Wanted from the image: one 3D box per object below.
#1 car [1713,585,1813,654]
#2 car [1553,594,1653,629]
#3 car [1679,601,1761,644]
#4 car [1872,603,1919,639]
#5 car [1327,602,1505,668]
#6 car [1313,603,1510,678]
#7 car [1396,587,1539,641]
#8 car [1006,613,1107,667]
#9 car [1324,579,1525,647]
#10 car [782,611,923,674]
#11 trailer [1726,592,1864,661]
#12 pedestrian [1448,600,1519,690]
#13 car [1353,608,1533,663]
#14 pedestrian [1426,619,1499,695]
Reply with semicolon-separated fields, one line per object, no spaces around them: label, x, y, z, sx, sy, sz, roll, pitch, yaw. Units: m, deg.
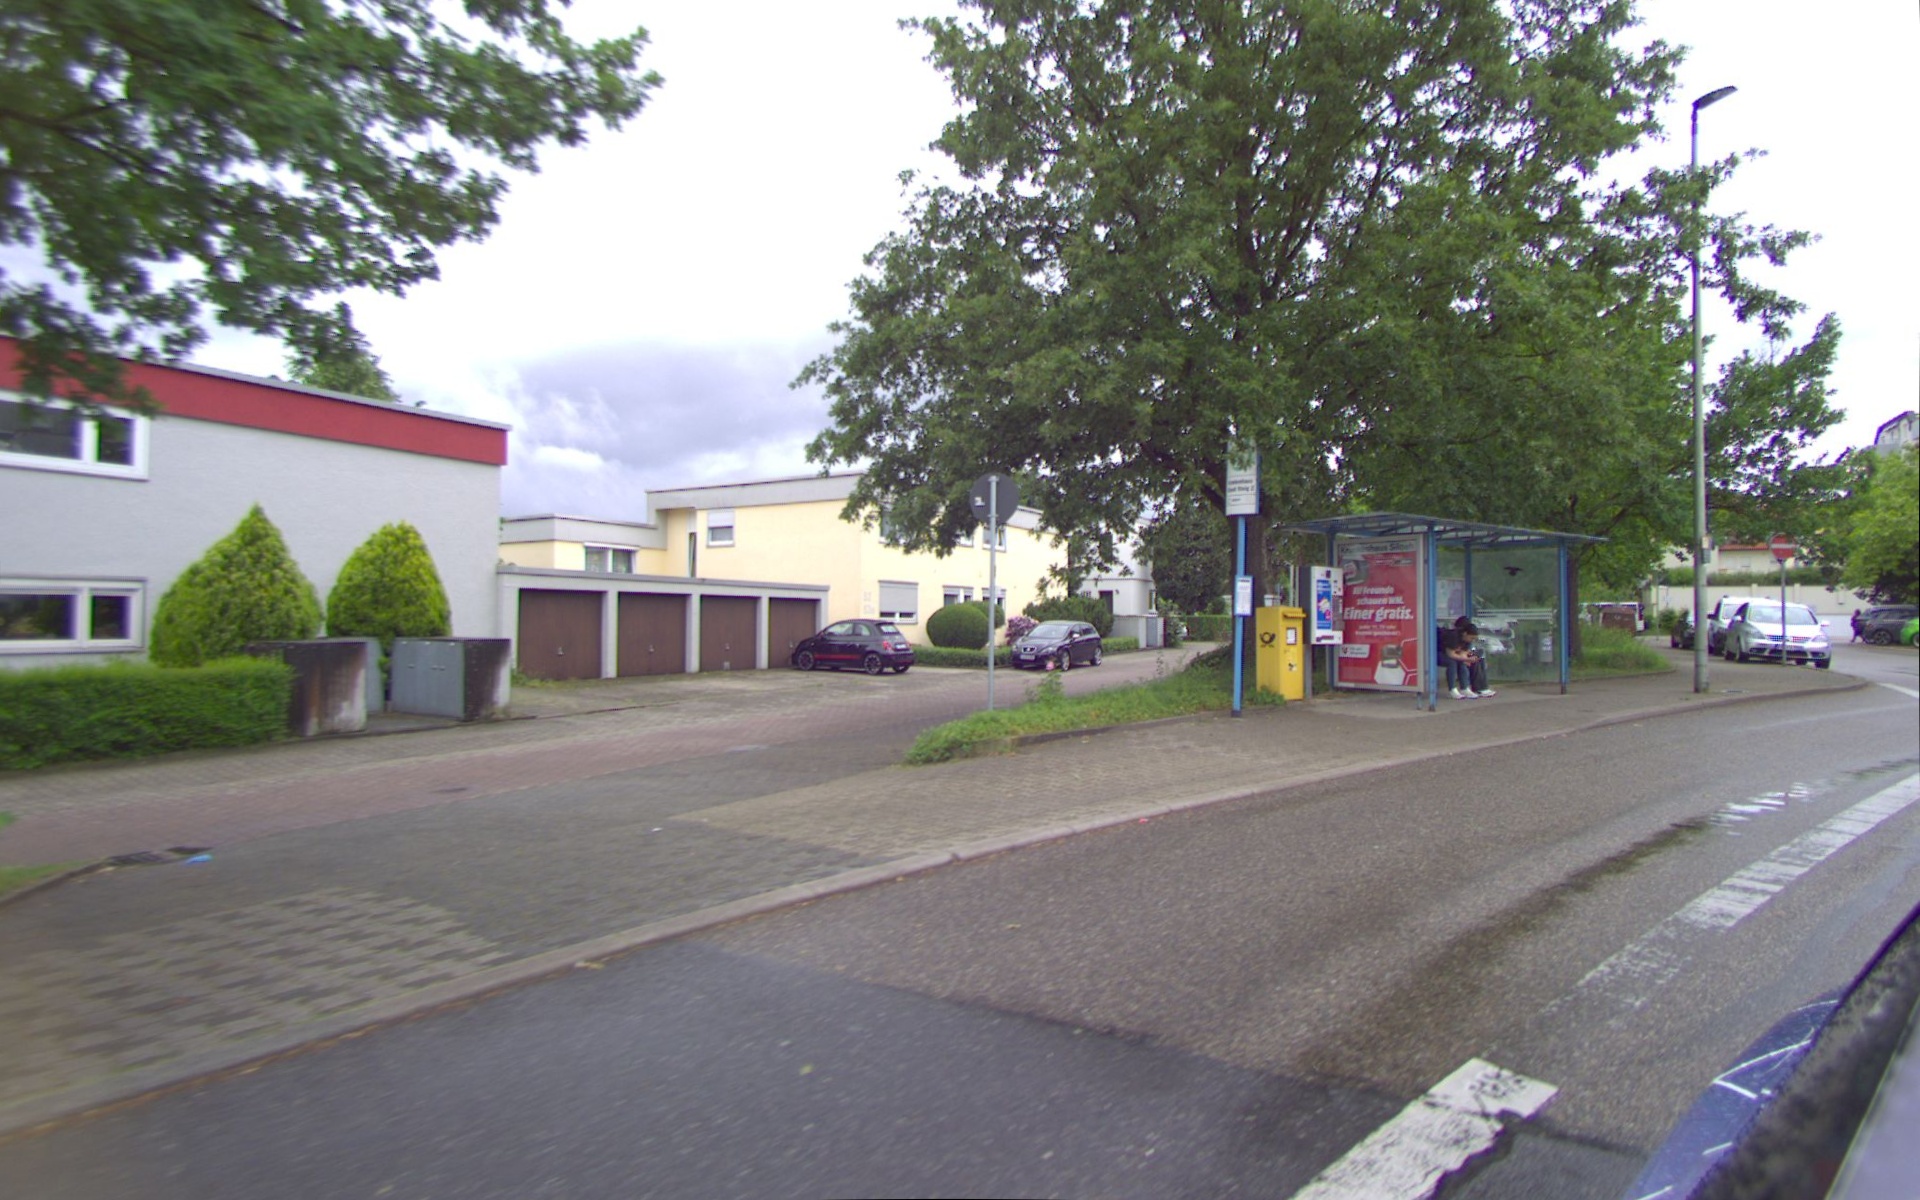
car;23.991;0.554;30.391;1.986;1.905;4.160;-1;-1;34
car;38.384;0.716;60.553;4.959;2.039;2.061;-1;-1;33
car;26.588;0.754;35.521;1.750;1.400;4.143;-1;-1;29
car;38.831;0.825;39.827;1.729;1.388;4.026;0;0;-30
car;11.245;0.829;25.114;1.731;1.505;3.648;0;-1;-44
car;10.009;0.860;22.649;1.726;1.505;3.656;0;-1;-35
car;20.060;0.527;40.207;1.960;2.039;4.768;0;0;-31
car;3.082;1.218;31.718;1.679;1.529;3.783;-2;-1;32
car;15.162;0.404;33.425;1.962;2.039;5.839;0;0;-35
car;-3.047;1.154;28.629;3.590;1.552;1.745;2;0;28
trailer;20.763;0.606;25.367;1.984;1.562;4.377;-1;-1;31
pedestrian;7.652;0.644;14.807;0.541;1.266;0.729;0;-1;-33
car;12.933;0.931;27.264;1.704;1.354;4.035;0;-1;-41
pedestrian;7.144;0.794;14.398;0.541;1.024;0.751;0;-1;-33
